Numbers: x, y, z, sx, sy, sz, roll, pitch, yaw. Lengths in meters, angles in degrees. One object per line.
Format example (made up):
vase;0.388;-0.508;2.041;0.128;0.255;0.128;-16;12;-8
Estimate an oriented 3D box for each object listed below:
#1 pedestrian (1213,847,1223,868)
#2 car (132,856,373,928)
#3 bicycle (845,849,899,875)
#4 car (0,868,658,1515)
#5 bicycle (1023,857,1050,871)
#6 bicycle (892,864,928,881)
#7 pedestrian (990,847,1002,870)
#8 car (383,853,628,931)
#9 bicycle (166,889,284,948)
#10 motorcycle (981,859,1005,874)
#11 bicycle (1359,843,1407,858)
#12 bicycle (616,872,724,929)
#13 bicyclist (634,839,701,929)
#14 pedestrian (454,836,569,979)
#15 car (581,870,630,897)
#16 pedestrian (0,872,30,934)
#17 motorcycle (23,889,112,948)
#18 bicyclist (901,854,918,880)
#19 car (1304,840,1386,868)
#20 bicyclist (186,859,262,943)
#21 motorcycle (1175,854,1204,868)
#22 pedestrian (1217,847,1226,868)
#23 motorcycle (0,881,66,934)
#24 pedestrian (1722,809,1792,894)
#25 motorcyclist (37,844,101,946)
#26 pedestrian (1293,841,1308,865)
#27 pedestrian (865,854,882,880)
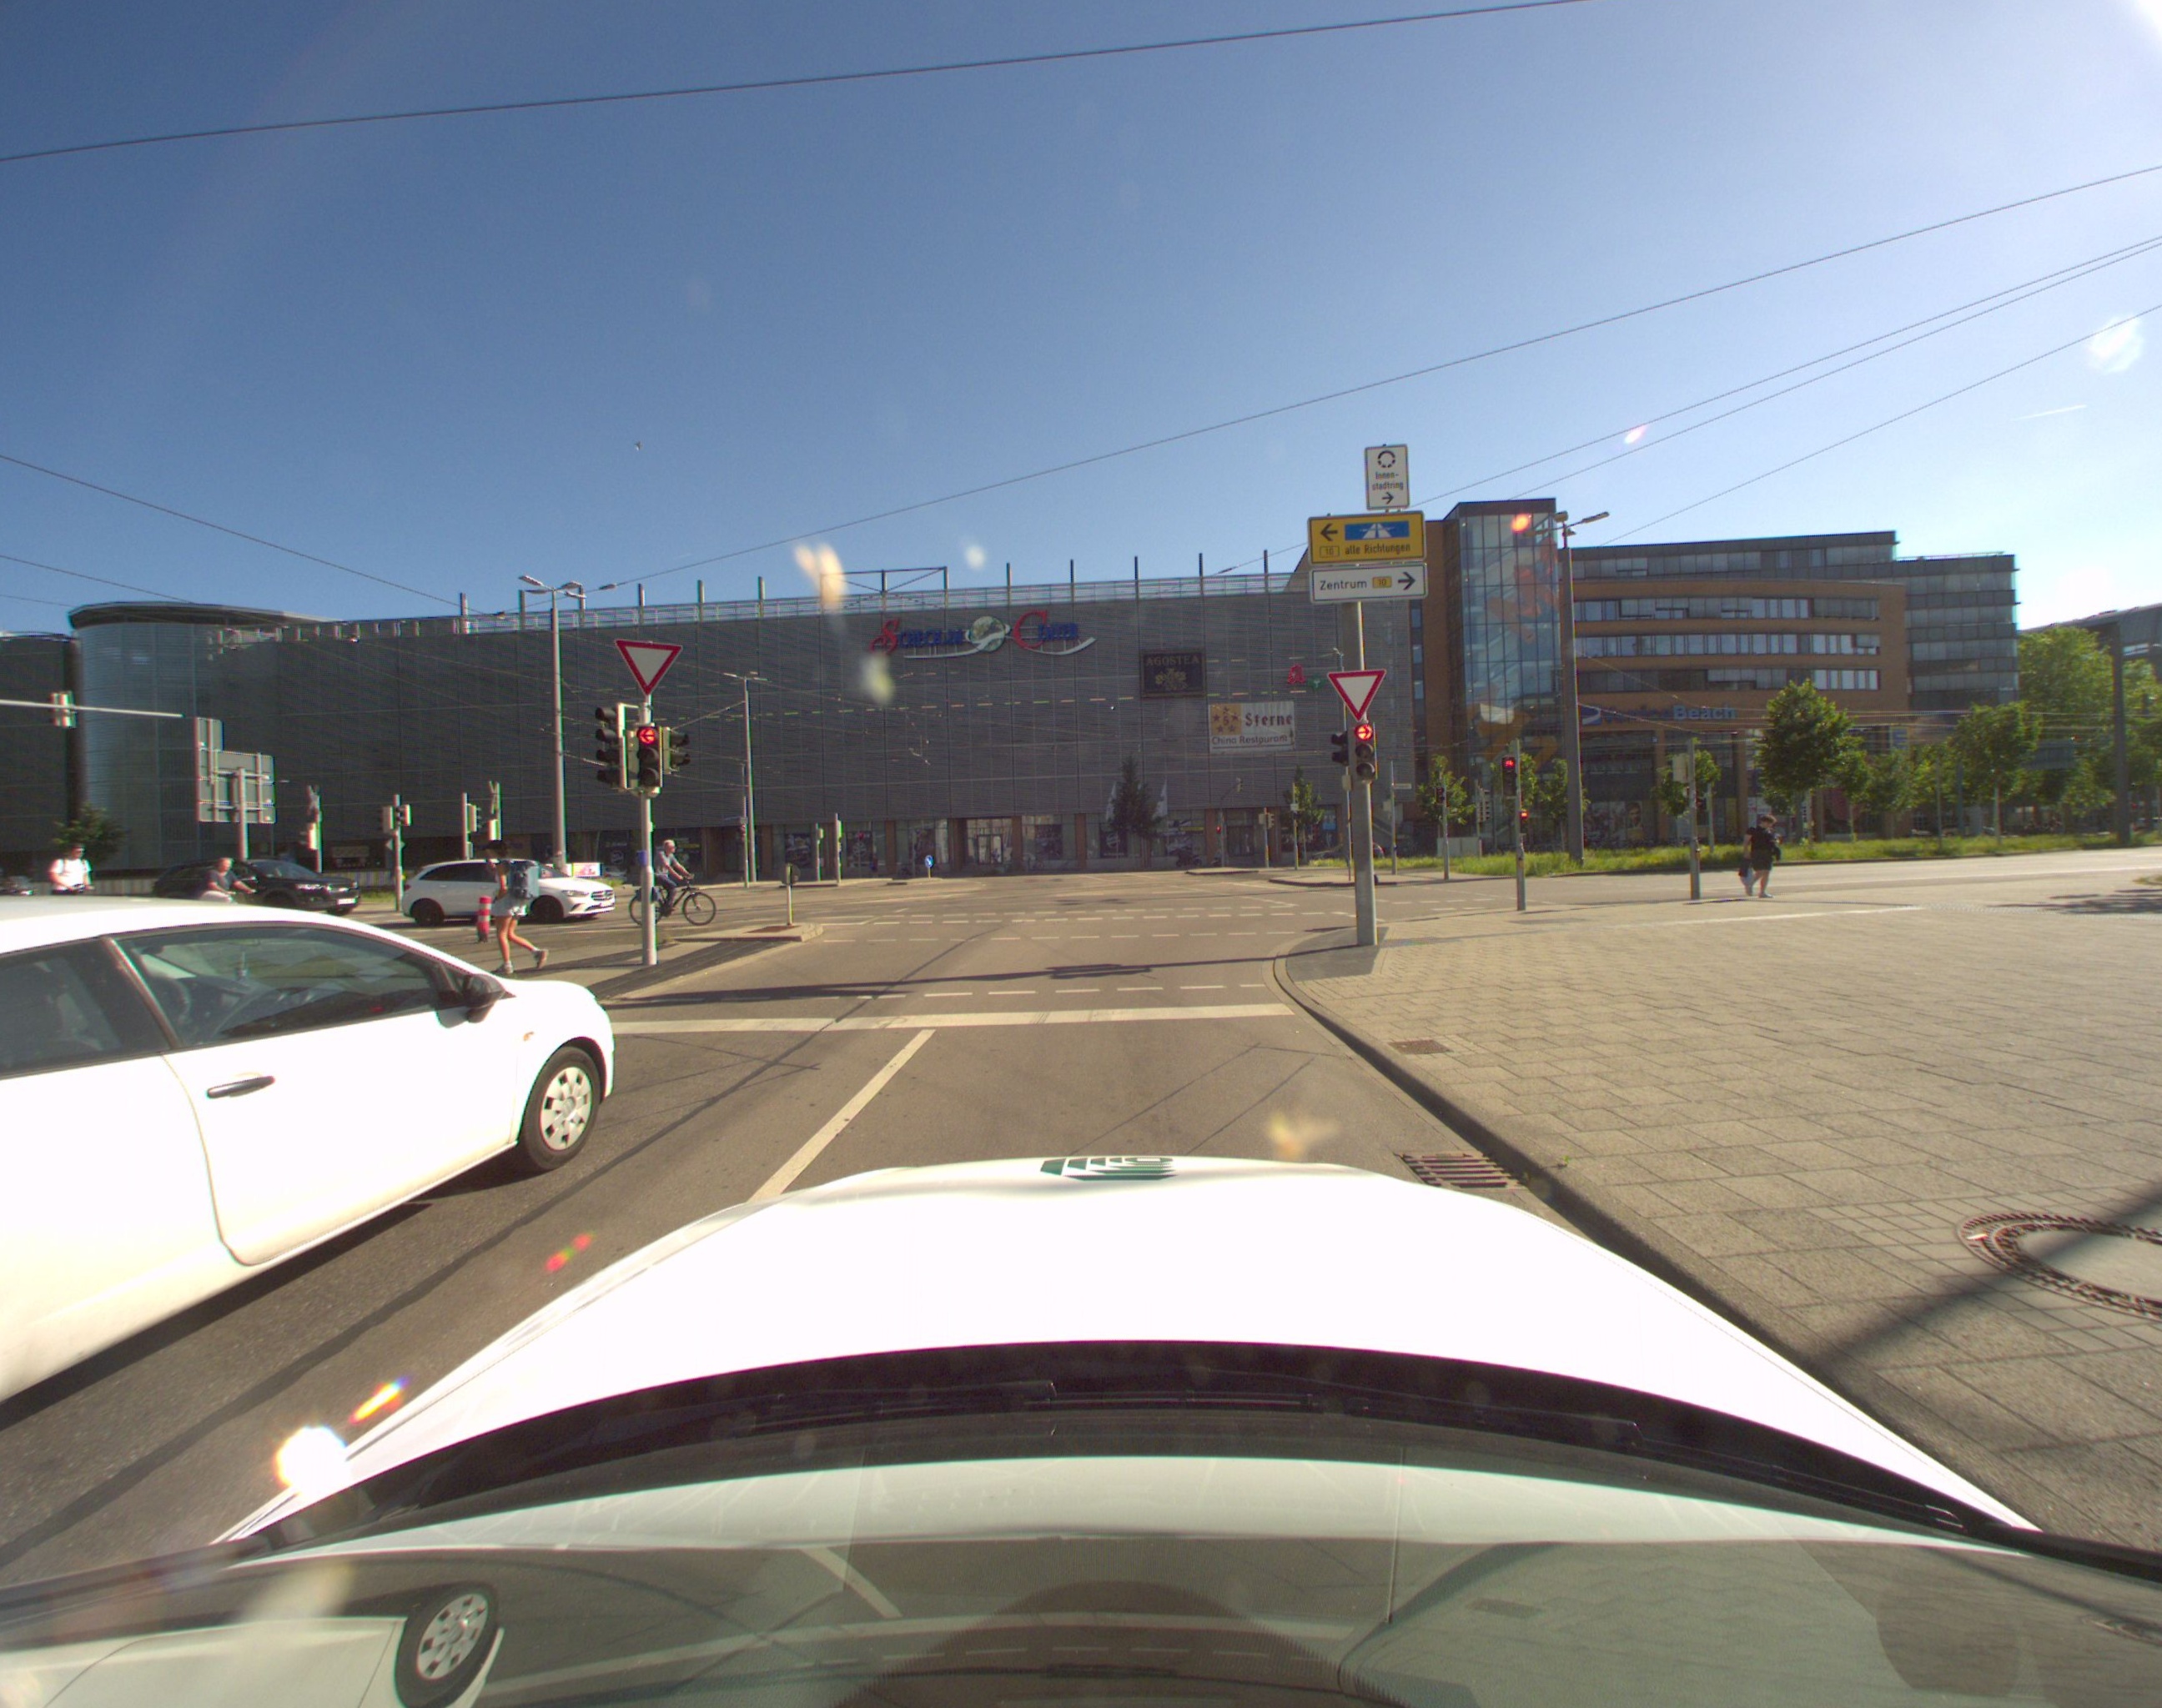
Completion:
pedestrian;9.940;0.259;59.022;0.587;1.534;0.658;-2;0;1
car;-22.564;0.998;22.321;4.620;1.718;1.839;-1;1;-1
bicycle;-16.897;0.662;65.990;3.971;2.013;1.331;-1;0;2
car;-3.284;0.809;2.730;1.626;1.423;3.784;1;0;2
bicycle;-3.541;0.782;64.572;2.019;1.059;1.145;-2;0;1
bicycle;-12.411;1.343;59.160;2.256;1.070;1.034;-2;0;-39
pedestrian;-6.746;0.351;64.846;0.845;1.763;0.620;-2;0;1
car;-13.808;0.874;19.754;4.477;1.635;1.838;-2;1;-3
bicycle;-17.423;1.305;16.604;1.571;1.107;0.734;2;0;-1
motorcycle;-6.443;0.903;59.862;1.641;1.059;0.499;-2;0;11
bicycle;23.924;-0.285;64.577;3.342;1.077;1.119;-1;0;7
bicycle;-8.724;0.976;17.344;1.822;1.116;0.854;-2;0;2
bicyclist;-8.795;0.625;17.352;0.898;1.859;0.855;-2;0;2
pedestrian;-7.140;0.646;10.245;0.882;1.707;0.713;-2;0;1
car;-34.273;2.086;58.675;3.948;1.794;1.769;-1;-1;39
pedestrian;-29.833;1.346;22.490;0.741;1.677;0.665;-1;0;1
motorcycle;-20.509;1.291;16.491;1.182;1.121;0.483;-2;0;1
bicyclist;-12.434;0.933;59.079;0.849;1.803;0.806;-2;0;-40
car;15.909;0.016;49.237;4.470;1.494;1.495;-2;0;1
bicyclist;-17.436;0.940;16.585;0.780;1.648;0.690;-2;0;-1
motorcycle;8.609;0.578;64.578;2.194;1.042;1.062;-1;0;2
pedestrian;10.332;0.259;59.919;0.587;1.462;0.658;-2;0;1
motorcycle;-29.890;1.478;22.520;2.435;1.419;0.915;-1;0;0
pedestrian;14.058;-0.053;16.955;0.803;1.708;0.762;-2;0;1
motorcyclist;-20.495;0.825;16.508;0.625;2.013;0.498;-2;0;1
pedestrian;16.263;-0.105;60.329;0.852;1.738;0.752;-2;0;-5
pedestrian;-15.120;0.923;59.404;0.894;1.868;0.826;-2;0;44
